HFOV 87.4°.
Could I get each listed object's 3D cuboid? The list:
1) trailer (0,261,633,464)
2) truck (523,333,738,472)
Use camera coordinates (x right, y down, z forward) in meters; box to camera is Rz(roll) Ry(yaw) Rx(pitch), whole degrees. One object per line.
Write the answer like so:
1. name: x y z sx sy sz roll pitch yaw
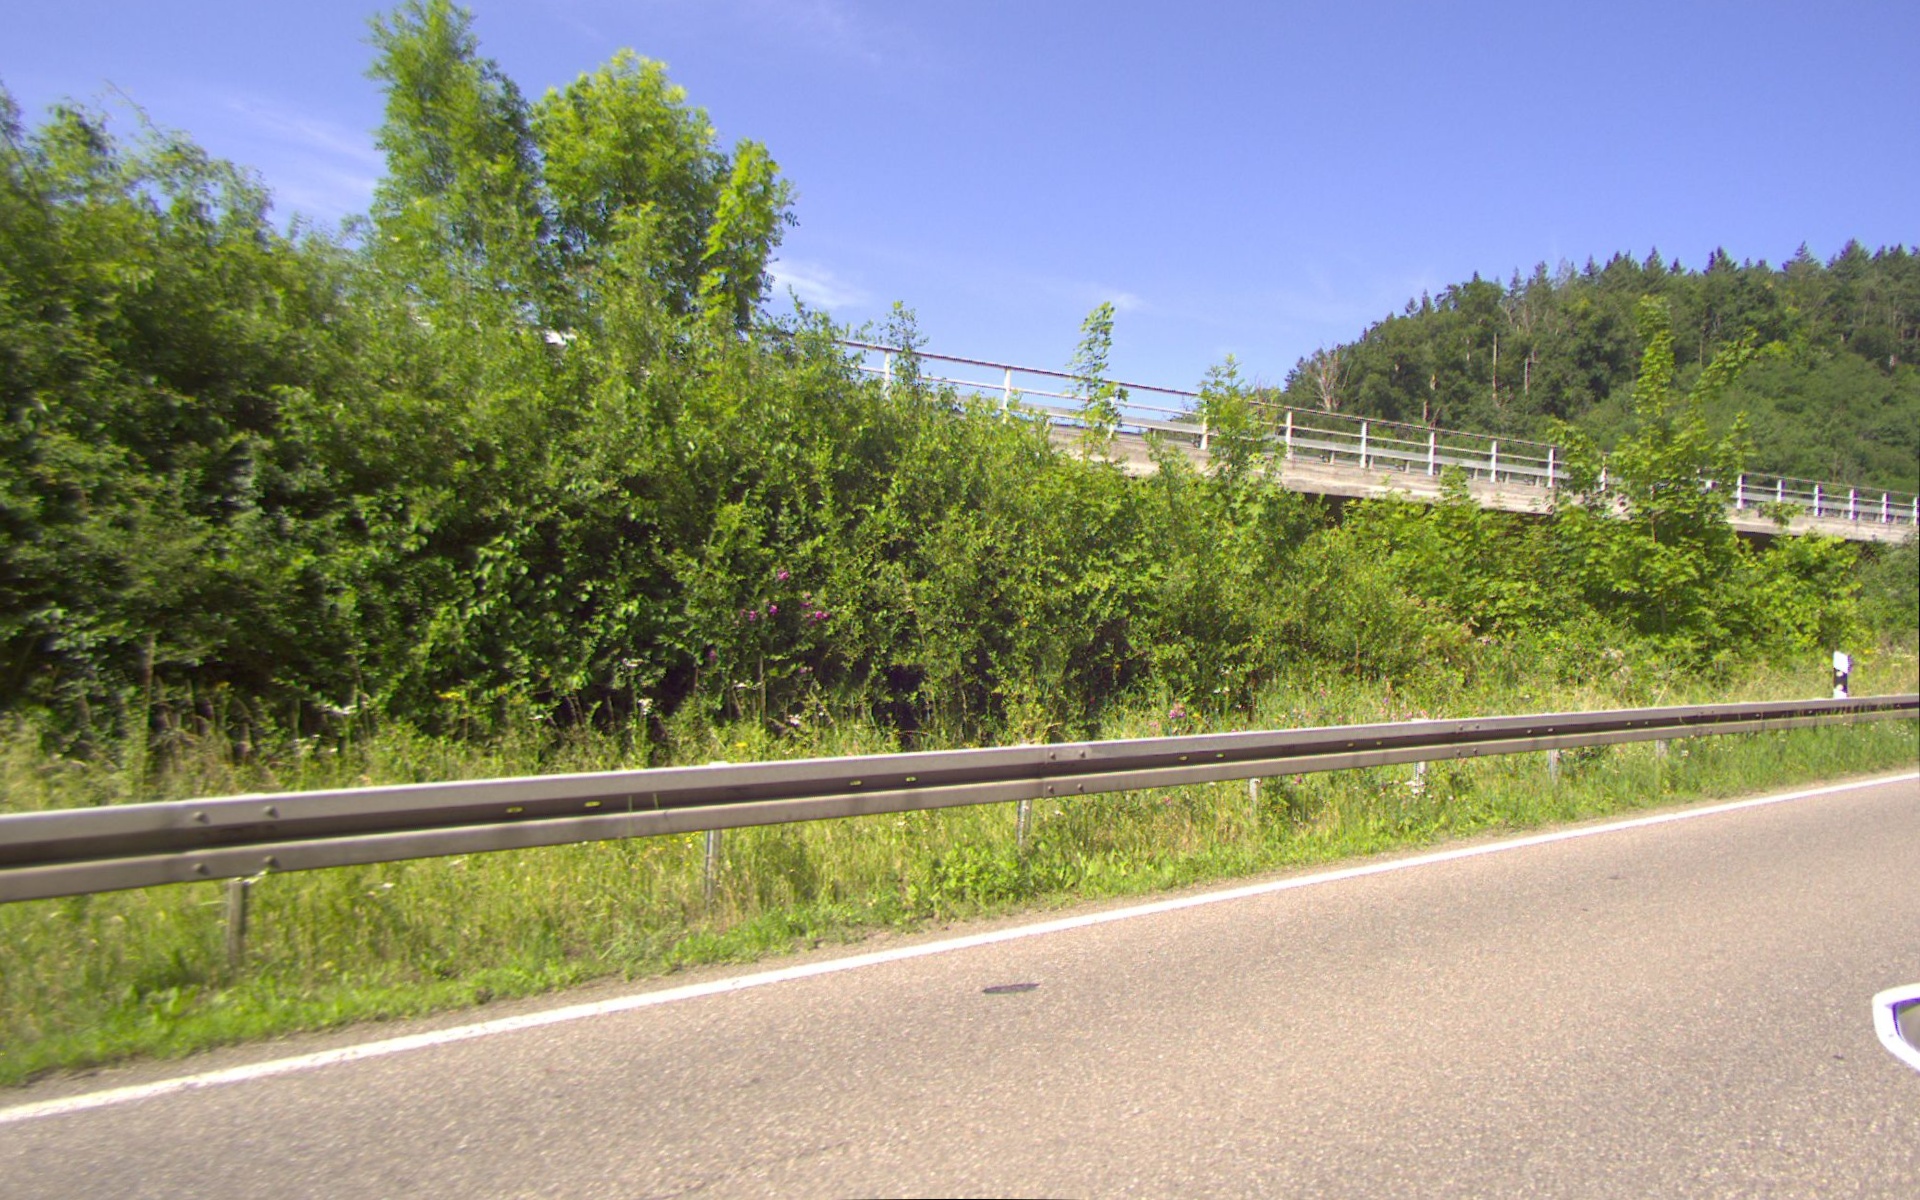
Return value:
1. trailer: -14.998 -5.519 25.105 12.784 2.917 2.384 1 0 -29
2. truck: -9.259 -5.412 28.324 5.399 2.917 2.384 1 0 -29
